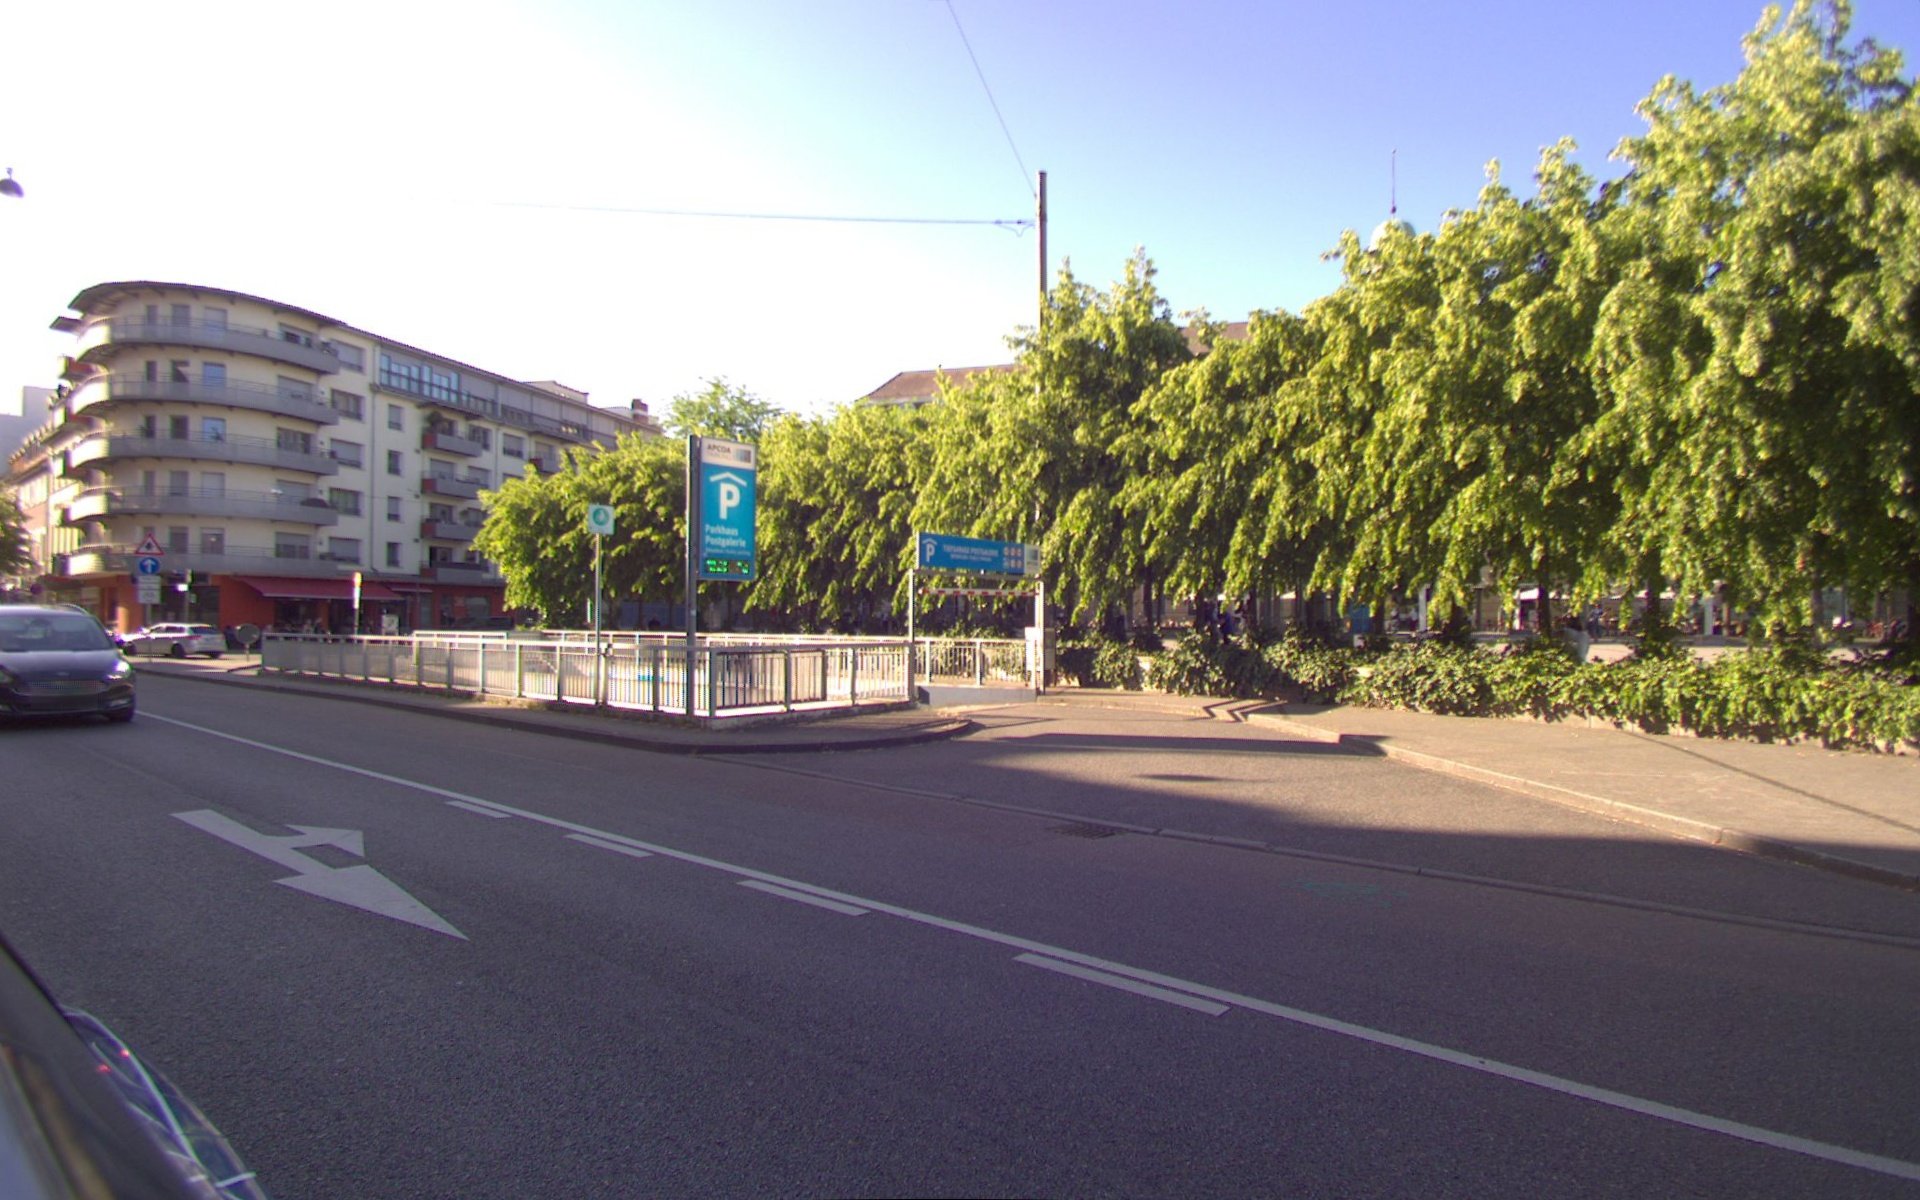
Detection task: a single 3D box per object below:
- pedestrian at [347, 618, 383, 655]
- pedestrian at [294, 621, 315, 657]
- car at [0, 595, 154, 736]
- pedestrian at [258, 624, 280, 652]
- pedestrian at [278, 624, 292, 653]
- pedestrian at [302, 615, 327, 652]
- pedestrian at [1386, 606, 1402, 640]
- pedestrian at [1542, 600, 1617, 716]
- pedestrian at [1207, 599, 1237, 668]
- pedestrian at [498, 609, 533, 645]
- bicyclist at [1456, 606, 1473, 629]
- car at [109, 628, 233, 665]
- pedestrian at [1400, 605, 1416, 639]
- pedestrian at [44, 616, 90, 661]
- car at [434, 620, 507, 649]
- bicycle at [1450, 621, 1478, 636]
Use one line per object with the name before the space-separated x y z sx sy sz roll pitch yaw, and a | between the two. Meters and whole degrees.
pedestrian | -32.654 1.996 55.559 1.251 2.029 1.226 -1 -1 19
pedestrian | -32.037 1.915 49.466 0.697 1.719 0.667 -1 -1 33
car | -13.628 0.885 14.788 4.724 1.785 1.973 -1 -2 40
pedestrian | -36.721 2.017 53.776 0.782 1.473 0.582 0 -1 3
pedestrian | -35.300 2.013 52.895 0.573 1.501 0.794 0 -1 -36
pedestrian | -32.034 1.675 50.234 0.747 1.819 0.754 -1 -1 1
pedestrian | 25.290 1.328 59.005 0.751 1.948 0.938 -1 -1 20
pedestrian | 9.780 0.891 15.978 0.885 1.771 0.738 0 -1 -39
pedestrian | 6.505 0.820 25.138 0.672 1.683 0.843 -1 -1 13
pedestrian | -25.189 1.523 57.343 1.289 2.029 1.307 -1 -1 27
bicyclist | 31.986 1.105 64.201 0.686 1.439 0.675 0 -1 -30
car | -32.389 1.915 41.582 4.208 1.445 1.796 -1 -1 13
pedestrian | 26.063 1.285 58.908 0.751 1.948 0.938 -1 -1 20
pedestrian | -40.741 1.751 46.199 1.008 2.029 1.198 -1 0 4
car | -30.511 2.121 63.207 1.983 1.763 3.977 -1 -1 17
bicycle | 31.972 1.805 64.185 1.874 0.961 0.591 0 -1 -30
